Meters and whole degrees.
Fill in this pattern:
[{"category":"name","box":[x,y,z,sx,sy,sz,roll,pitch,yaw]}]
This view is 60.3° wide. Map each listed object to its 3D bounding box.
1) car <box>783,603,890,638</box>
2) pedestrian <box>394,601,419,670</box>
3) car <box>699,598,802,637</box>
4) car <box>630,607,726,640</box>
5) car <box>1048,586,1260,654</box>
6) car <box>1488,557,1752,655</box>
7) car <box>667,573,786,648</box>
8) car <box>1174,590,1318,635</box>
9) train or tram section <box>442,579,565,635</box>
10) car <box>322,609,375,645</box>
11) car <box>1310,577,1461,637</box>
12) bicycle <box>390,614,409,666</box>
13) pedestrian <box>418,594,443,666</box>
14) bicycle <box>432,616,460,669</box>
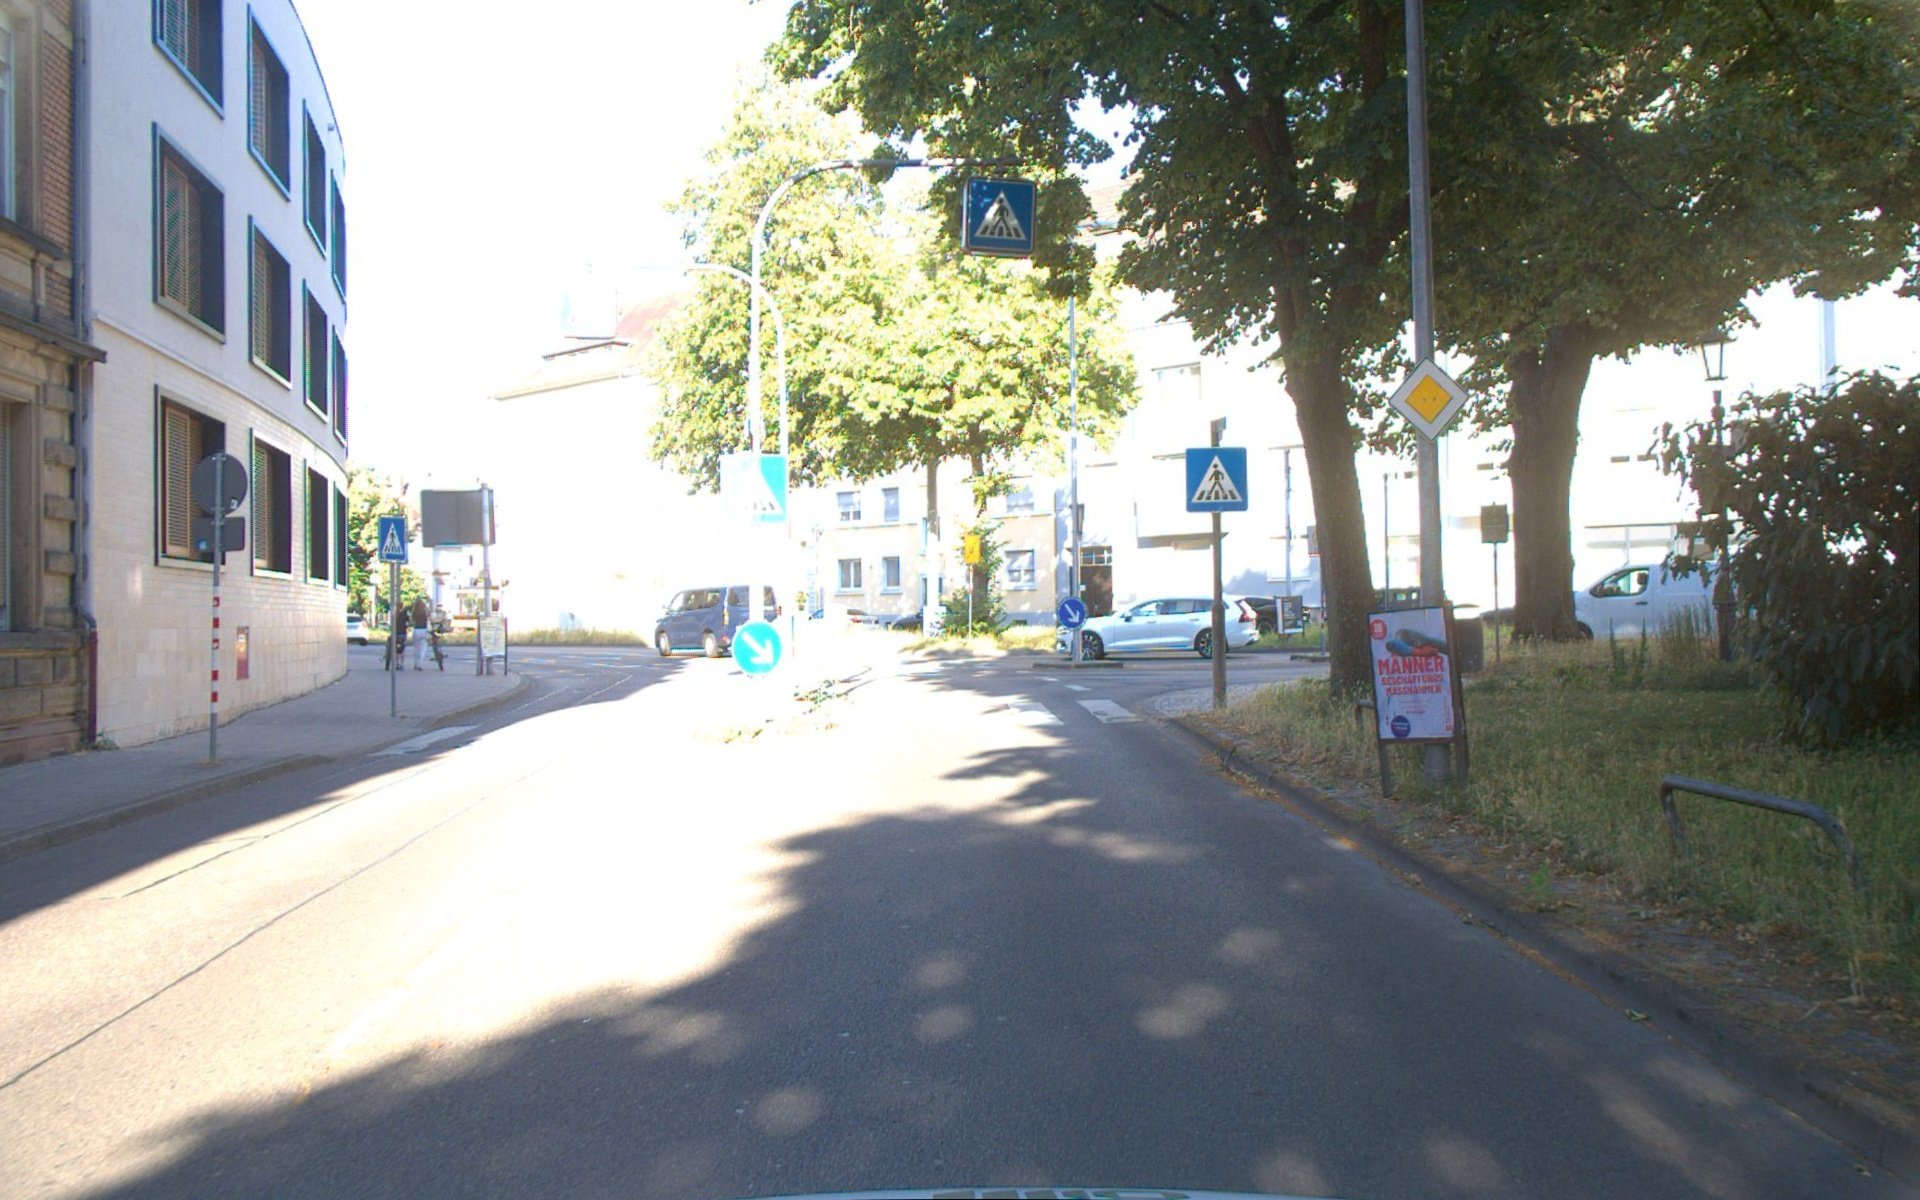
[{"category":"car","box":[-5.192,0.847,69.142,4.366,1.410,1.988,0,1,42]},{"category":"pedestrian","box":[-13.005,0.824,38.858,0.467,1.592,0.598,-2,1,-23]},{"category":"car","box":[-9.271,0.796,72.985,4.558,1.599,1.988,-2,0,42]},{"category":"car","box":[-13.048,1.077,76.508,4.361,1.410,1.991,0,1,39]},{"category":"car","box":[4.527,0.460,38.354,4.655,1.489,1.856,-1,0,15]},{"category":"car","box":[13.560,0.120,34.062,4.796,1.886,1.996,-1,0,31]},{"category":"car","box":[-6.710,0.298,47.261,1.974,2.049,3.956,0,-1,-32]},{"category":"car","box":[9.525,0.412,55.189,4.366,1.410,1.988,0,1,42]},{"category":"train or tram section","box":[-30.862,0.473,112.378,2.718,3.618,9.920,-1,0,21]},{"category":"car","box":[-27.972,1.196,75.565,1.934,1.531,3.655,-2,0,-26]},{"category":"car","box":[13.298,0.218,51.814,4.134,1.779,1.988,0,1,42]},{"category":"bicycle","box":[-13.259,0.938,39.090,0.370,1.187,1.826,0,0,-20]},{"category":"pedestrian","box":[-12.481,0.698,38.990,0.467,1.676,0.598,-2,0,-23]},{"category":"bicycle","box":[-12.132,0.983,39.025,0.434,1.199,1.953,0,0,-23]}]
